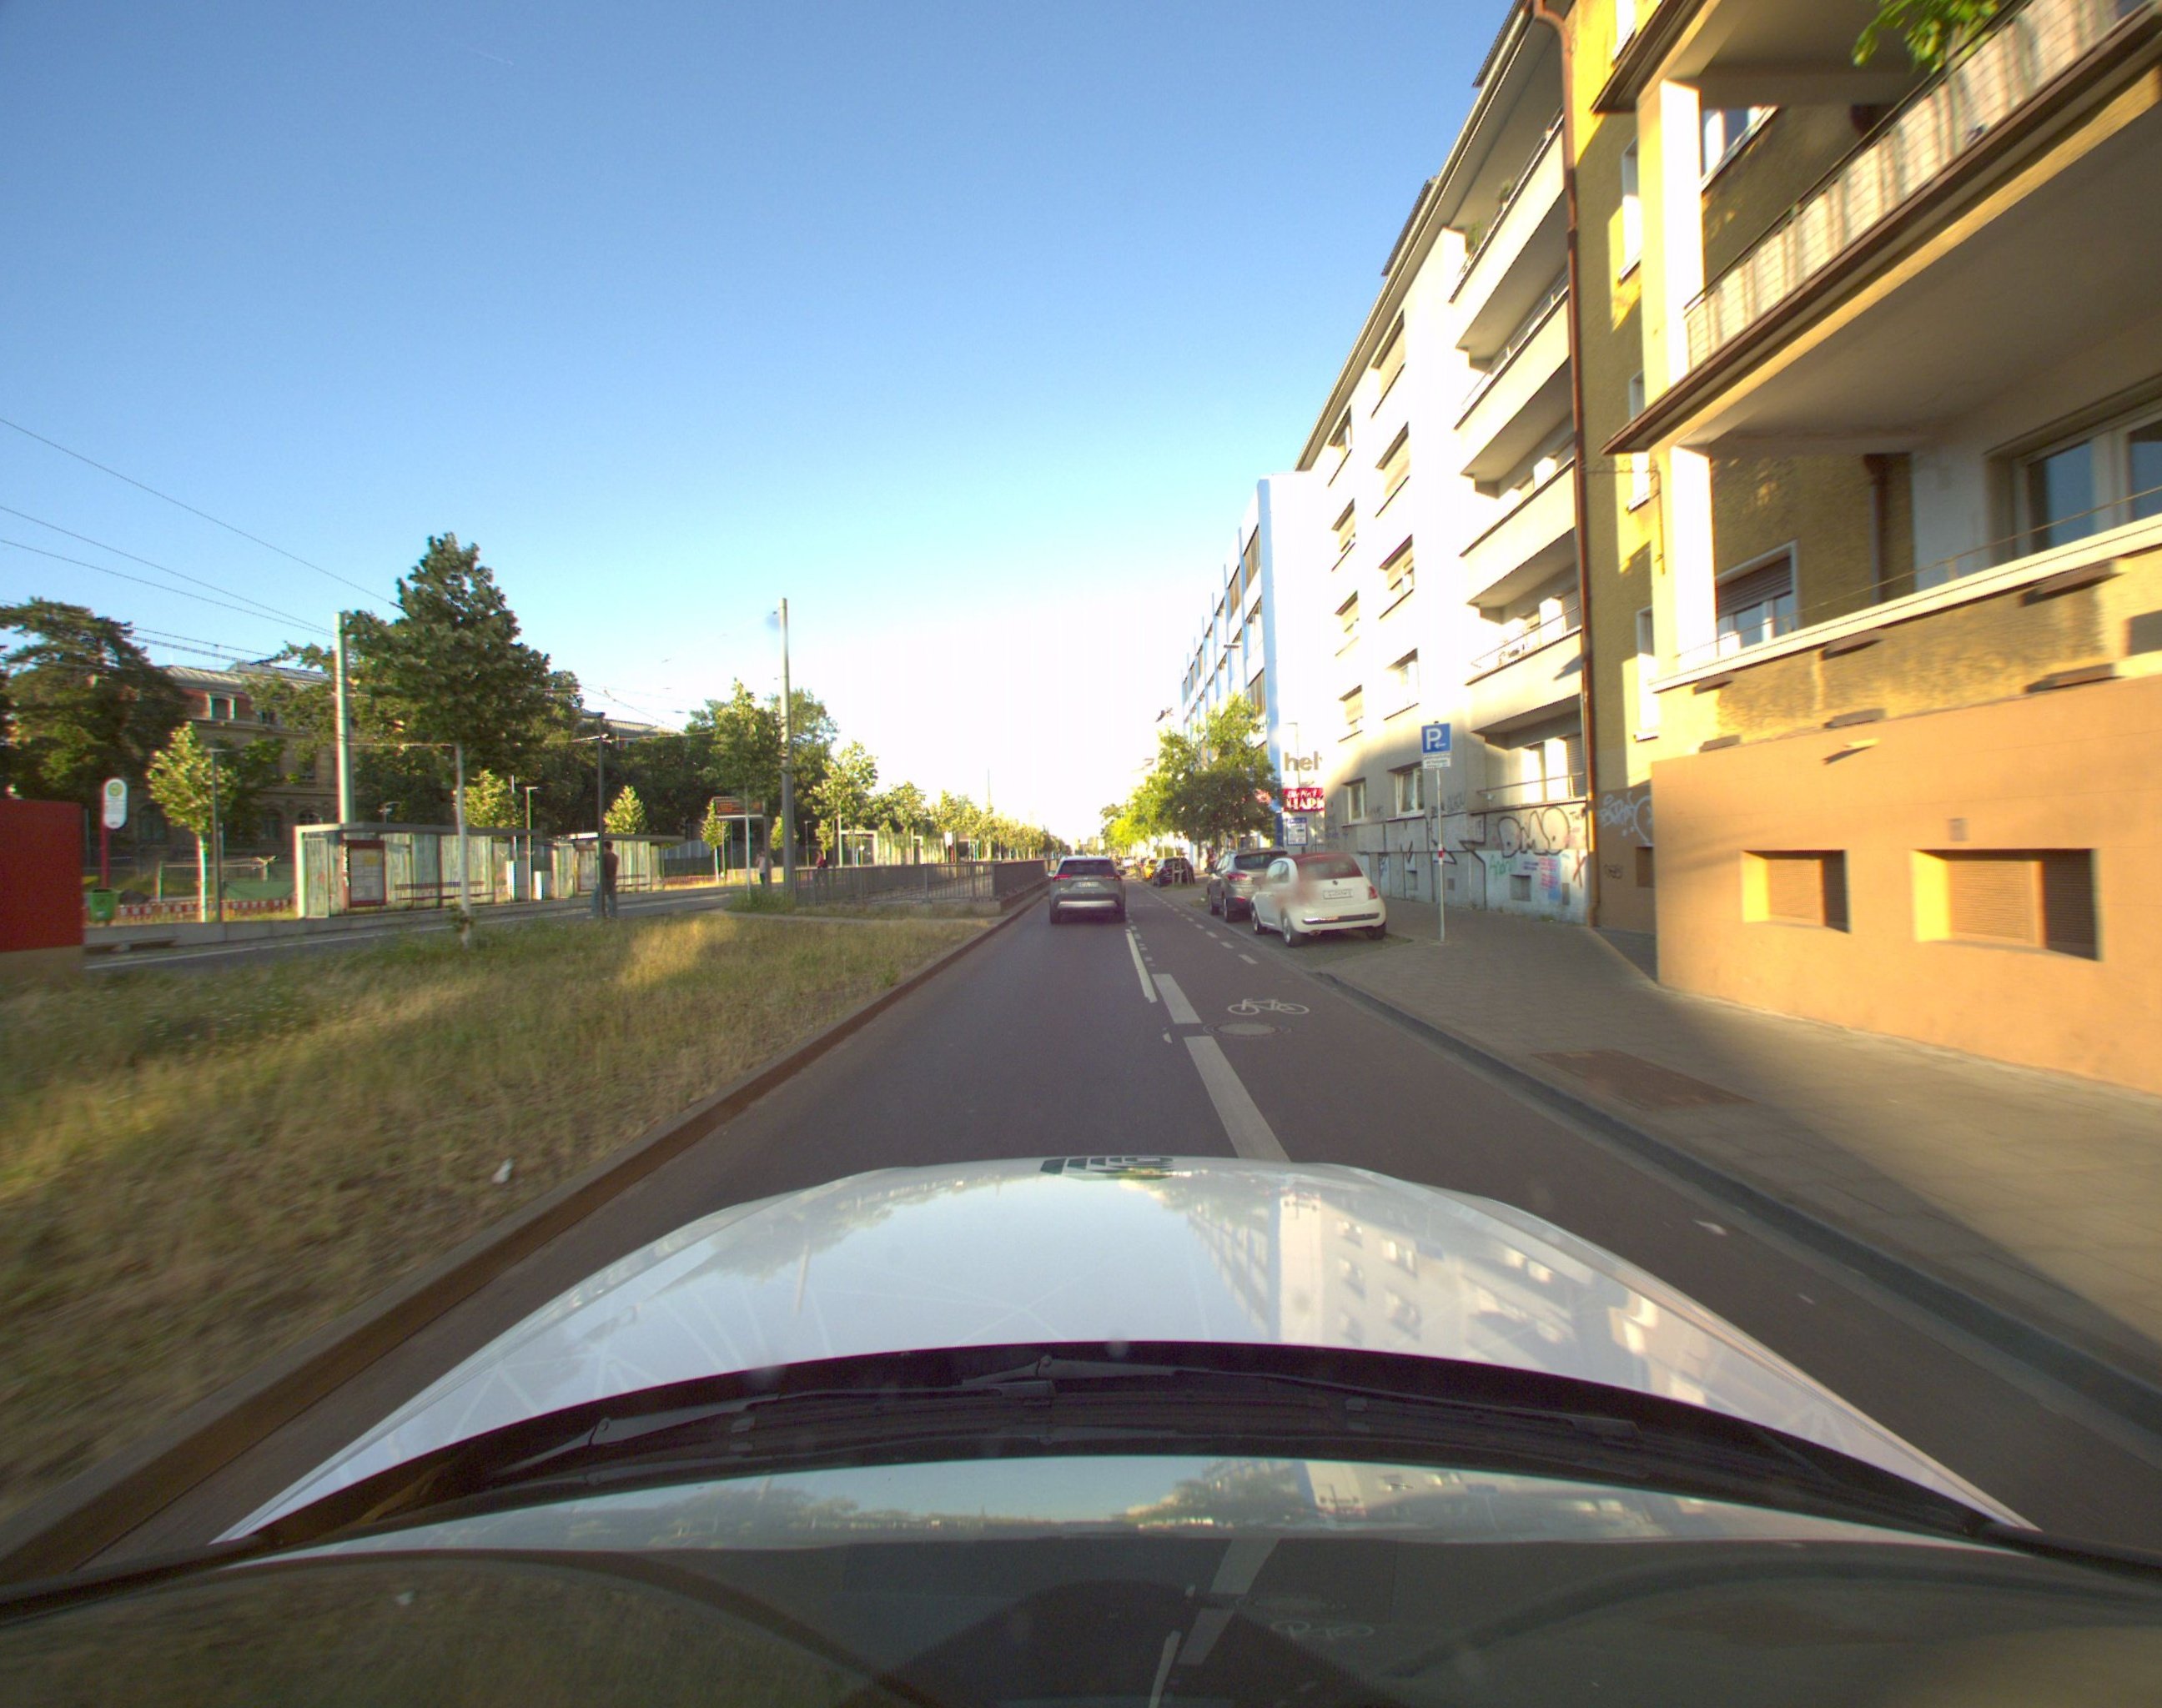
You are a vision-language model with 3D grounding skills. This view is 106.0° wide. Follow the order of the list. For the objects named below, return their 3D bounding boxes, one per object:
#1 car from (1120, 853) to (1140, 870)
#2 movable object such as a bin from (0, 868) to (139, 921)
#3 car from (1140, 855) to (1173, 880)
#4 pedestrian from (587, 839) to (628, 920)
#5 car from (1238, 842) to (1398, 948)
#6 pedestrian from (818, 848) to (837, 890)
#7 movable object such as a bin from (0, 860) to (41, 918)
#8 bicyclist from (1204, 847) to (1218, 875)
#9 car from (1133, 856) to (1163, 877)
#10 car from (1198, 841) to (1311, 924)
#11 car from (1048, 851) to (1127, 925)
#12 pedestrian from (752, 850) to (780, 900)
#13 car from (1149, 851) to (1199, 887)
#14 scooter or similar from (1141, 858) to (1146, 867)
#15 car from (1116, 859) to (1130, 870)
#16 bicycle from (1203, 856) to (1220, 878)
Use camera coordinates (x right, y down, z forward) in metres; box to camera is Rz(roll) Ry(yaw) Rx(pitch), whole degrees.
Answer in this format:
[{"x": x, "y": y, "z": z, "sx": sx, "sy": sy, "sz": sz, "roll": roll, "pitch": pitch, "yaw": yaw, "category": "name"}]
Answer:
[{"x": 5.551, "y": 0.841, "z": 92.096, "sx": 1.849, "sy": 1.706, "sz": 4.252, "roll": -4, "pitch": 0, "yaw": -1, "category": "car"}, {"x": -47.576, "y": 1.809, "z": 37.707, "sx": 1.985, "sy": 2.246, "sz": 4.943, "roll": -2, "pitch": -1, "yaw": 3, "category": "movable object such as a bin"}, {"x": 4.840, "y": 0.884, "z": 52.645, "sx": 1.678, "sy": 1.454, "sz": 4.128, "roll": -3, "pitch": -1, "yaw": -1, "category": "car"}, {"x": -10.663, "y": 0.573, "z": 18.350, "sx": 0.468, "sy": 1.787, "sz": 0.627, "roll": -2, "pitch": -1, "yaw": 8, "category": "pedestrian"}, {"x": 4.125, "y": 0.669, "z": 14.768, "sx": 1.665, "sy": 1.517, "sz": 3.600, "roll": -6, "pitch": 0, "yaw": -1, "category": "car"}, {"x": -10.579, "y": 0.634, "z": 34.033, "sx": 0.634, "sy": 1.729, "sz": 0.633, "roll": -2, "pitch": 0, "yaw": -12, "category": "pedestrian"}, {"x": -51.482, "y": 1.679, "z": 37.457, "sx": 1.985, "sy": 2.706, "sz": 4.003, "roll": -2, "pitch": -1, "yaw": 3, "category": "movable object such as a bin"}, {"x": 7.223, "y": 0.383, "z": 45.385, "sx": 0.556, "sy": 1.475, "sz": 0.622, "roll": -5, "pitch": -1, "yaw": -1, "category": "bicyclist"}, {"x": 5.096, "y": 0.925, "z": 62.619, "sx": 1.814, "sy": 1.454, "sz": 4.126, "roll": -3, "pitch": -1, "yaw": -1, "category": "car"}, {"x": 4.091, "y": 0.627, "z": 19.940, "sx": 1.751, "sy": 1.654, "sz": 4.529, "roll": -5, "pitch": 0, "yaw": 1, "category": "car"}, {"x": 0.122, "y": 0.805, "z": 21.099, "sx": 1.852, "sy": 1.714, "sz": 4.190, "roll": 0, "pitch": -1, "yaw": -1, "category": "car"}, {"x": -11.440, "y": 0.759, "z": 29.590, "sx": 0.724, "sy": 1.744, "sz": 0.635, "roll": -3, "pitch": 0, "yaw": -7, "category": "pedestrian"}, {"x": 4.735, "y": 0.735, "z": 42.067, "sx": 1.814, "sy": 1.566, "sz": 4.808, "roll": -6, "pitch": 0, "yaw": -1, "category": "car"}, {"x": 8.704, "y": 1.160, "z": 113.149, "sx": 0.489, "sy": 1.258, "sz": 1.207, "roll": -1, "pitch": -1, "yaw": -3, "category": "scooter or similar"}, {"x": 6.244, "y": 1.513, "z": 121.383, "sx": 1.788, "sy": 1.471, "sz": 4.441, "roll": -3, "pitch": 0, "yaw": -2, "category": "car"}, {"x": 7.254, "y": 0.732, "z": 45.337, "sx": 0.552, "sy": 1.129, "sz": 1.973, "roll": -5, "pitch": -1, "yaw": -1, "category": "bicycle"}]
